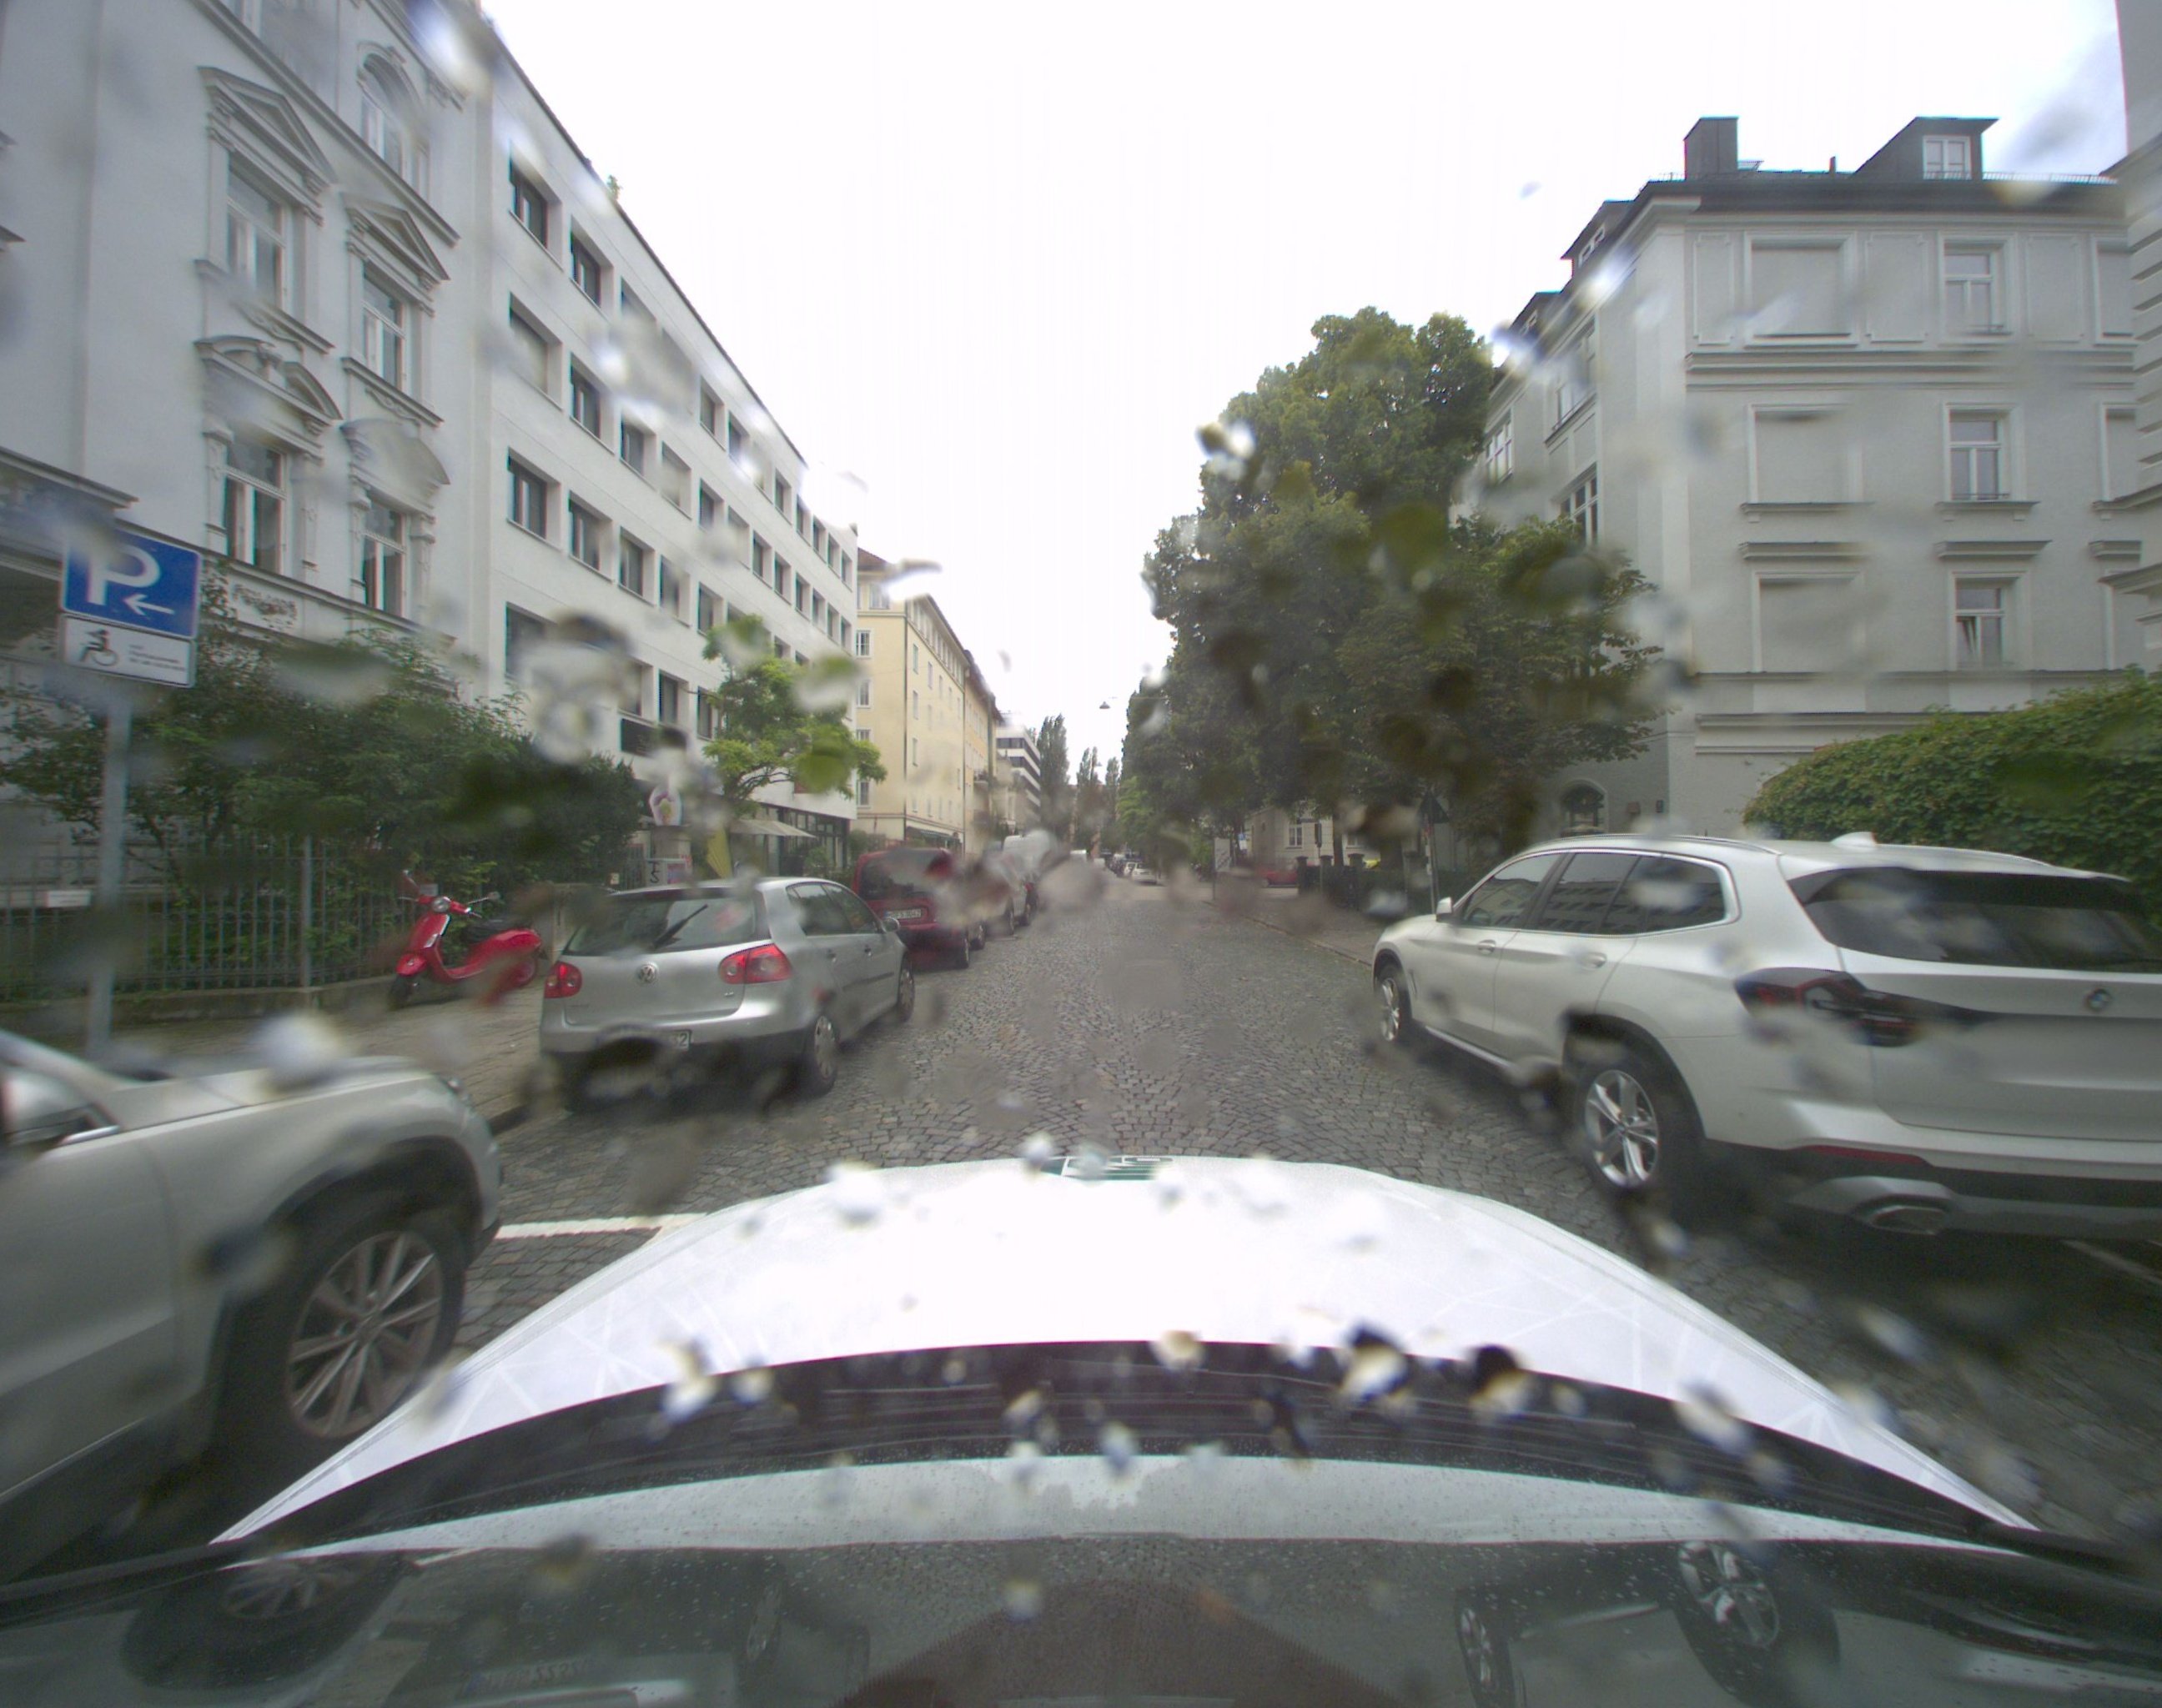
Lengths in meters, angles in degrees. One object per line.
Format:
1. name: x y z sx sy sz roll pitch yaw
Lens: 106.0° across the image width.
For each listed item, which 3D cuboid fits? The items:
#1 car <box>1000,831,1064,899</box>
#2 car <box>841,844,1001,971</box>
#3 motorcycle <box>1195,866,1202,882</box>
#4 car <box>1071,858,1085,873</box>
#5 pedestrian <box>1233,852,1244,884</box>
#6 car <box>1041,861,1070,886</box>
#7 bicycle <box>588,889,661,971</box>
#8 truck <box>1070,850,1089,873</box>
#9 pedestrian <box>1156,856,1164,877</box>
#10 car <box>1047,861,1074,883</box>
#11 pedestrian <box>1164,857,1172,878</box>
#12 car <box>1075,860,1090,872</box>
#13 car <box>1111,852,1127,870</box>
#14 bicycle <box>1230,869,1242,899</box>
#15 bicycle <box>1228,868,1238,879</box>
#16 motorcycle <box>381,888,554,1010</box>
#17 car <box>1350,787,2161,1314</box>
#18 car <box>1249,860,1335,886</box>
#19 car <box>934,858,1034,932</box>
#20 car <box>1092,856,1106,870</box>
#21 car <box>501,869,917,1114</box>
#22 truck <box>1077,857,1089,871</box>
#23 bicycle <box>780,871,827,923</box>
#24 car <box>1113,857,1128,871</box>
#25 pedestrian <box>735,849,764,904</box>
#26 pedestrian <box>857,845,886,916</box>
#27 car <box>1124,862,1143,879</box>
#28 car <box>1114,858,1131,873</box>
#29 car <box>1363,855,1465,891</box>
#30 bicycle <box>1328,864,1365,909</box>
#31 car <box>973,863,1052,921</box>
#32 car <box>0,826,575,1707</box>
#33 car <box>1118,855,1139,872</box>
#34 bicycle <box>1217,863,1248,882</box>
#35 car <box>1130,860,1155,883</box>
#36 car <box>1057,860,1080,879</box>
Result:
1. car: -1.953 0.474 34.329 1.969 2.574 5.798 -2 -1 3
2. car: -2.412 0.772 13.236 1.711 1.723 3.899 -2 -1 1
3. motorcycle: 7.945 1.357 55.110 0.360 1.090 1.405 0 -1 4
4. car: -0.364 1.436 101.528 1.768 1.718 4.390 0 -1 0
5. pedestrian: 9.389 0.834 48.483 0.492 1.876 0.742 0 -1 -4
6. car: -1.662 1.270 54.556 1.846 1.586 4.746 0 -1 -1
7. bicycle: -6.953 1.121 12.473 0.257 1.078 1.684 0 0 -3
8. truck: -0.182 1.058 118.278 2.500 3.032 6.383 -2 0 0
9. pedestrian: 6.917 1.096 71.228 0.572 1.850 0.683 -1 -1 8
10. car: -1.447 1.268 59.460 1.767 1.536 4.541 -1 0 1
11. pedestrian: 7.689 1.167 71.895 0.624 1.808 0.661 0 -1 7
12. car: 0.140 1.568 106.894 1.934 1.459 4.057 0 -1 0
13. car: 5.525 1.005 119.342 1.889 2.426 5.610 3 0 0
14. bicycle: 6.103 1.159 32.107 0.386 1.147 1.593 -1 -1 8
15. bicycle: 11.441 1.447 61.353 0.489 0.812 2.276 0 -1 5
16. motorcycle: -6.701 0.987 8.998 0.328 1.180 1.632 0 -1 17
17. car: 3.290 0.681 4.939 1.913 1.686 4.635 0 -1 2
18. car: 11.605 1.052 45.028 4.442 1.358 1.764 -1 -1 8
19. car: -2.071 0.864 18.430 1.686 1.504 3.778 0 -1 2
20. car: 2.601 1.363 119.474 1.988 1.936 4.002 0 -1 2
21. car: -2.531 0.827 6.622 1.626 1.394 3.815 0 -1 0
22. truck: 0.379 1.819 147.120 1.986 2.347 4.068 0 -1 1
23. bicycle: -6.705 1.016 19.763 0.359 1.175 1.912 0 -1 3
24. car: 5.498 1.403 113.720 1.794 1.950 4.859 2 -1 0
25. pedestrian: -10.221 0.671 25.125 0.553 1.660 0.784 1 1 3
26. pedestrian: -5.593 0.700 21.751 0.612 1.840 0.812 0 -1 -6
27. car: 4.817 1.474 75.078 1.624 1.469 3.659 2 -1 1
28. car: 5.103 1.418 100.777 1.956 1.759 4.953 0 -1 0
29. car: 15.125 0.863 37.205 4.047 1.597 1.912 0 -1 12
30. bicycle: 7.544 0.907 23.179 0.426 1.198 1.731 -5 -1 2
31. car: -1.896 1.023 23.738 1.719 1.465 4.475 -3 -1 2
32. car: -2.699 0.731 0.932 1.684 1.572 4.067 0 -1 0
33. car: 4.643 0.940 80.267 1.868 1.673 5.492 0 -1 1
34. bicycle: 9.382 1.162 50.504 1.824 1.124 0.564 -1 -1 14
35. car: 4.078 1.185 54.469 1.496 1.471 3.797 -1 -1 2
36. car: -1.081 1.327 70.918 1.767 1.647 4.392 0 -1 2
